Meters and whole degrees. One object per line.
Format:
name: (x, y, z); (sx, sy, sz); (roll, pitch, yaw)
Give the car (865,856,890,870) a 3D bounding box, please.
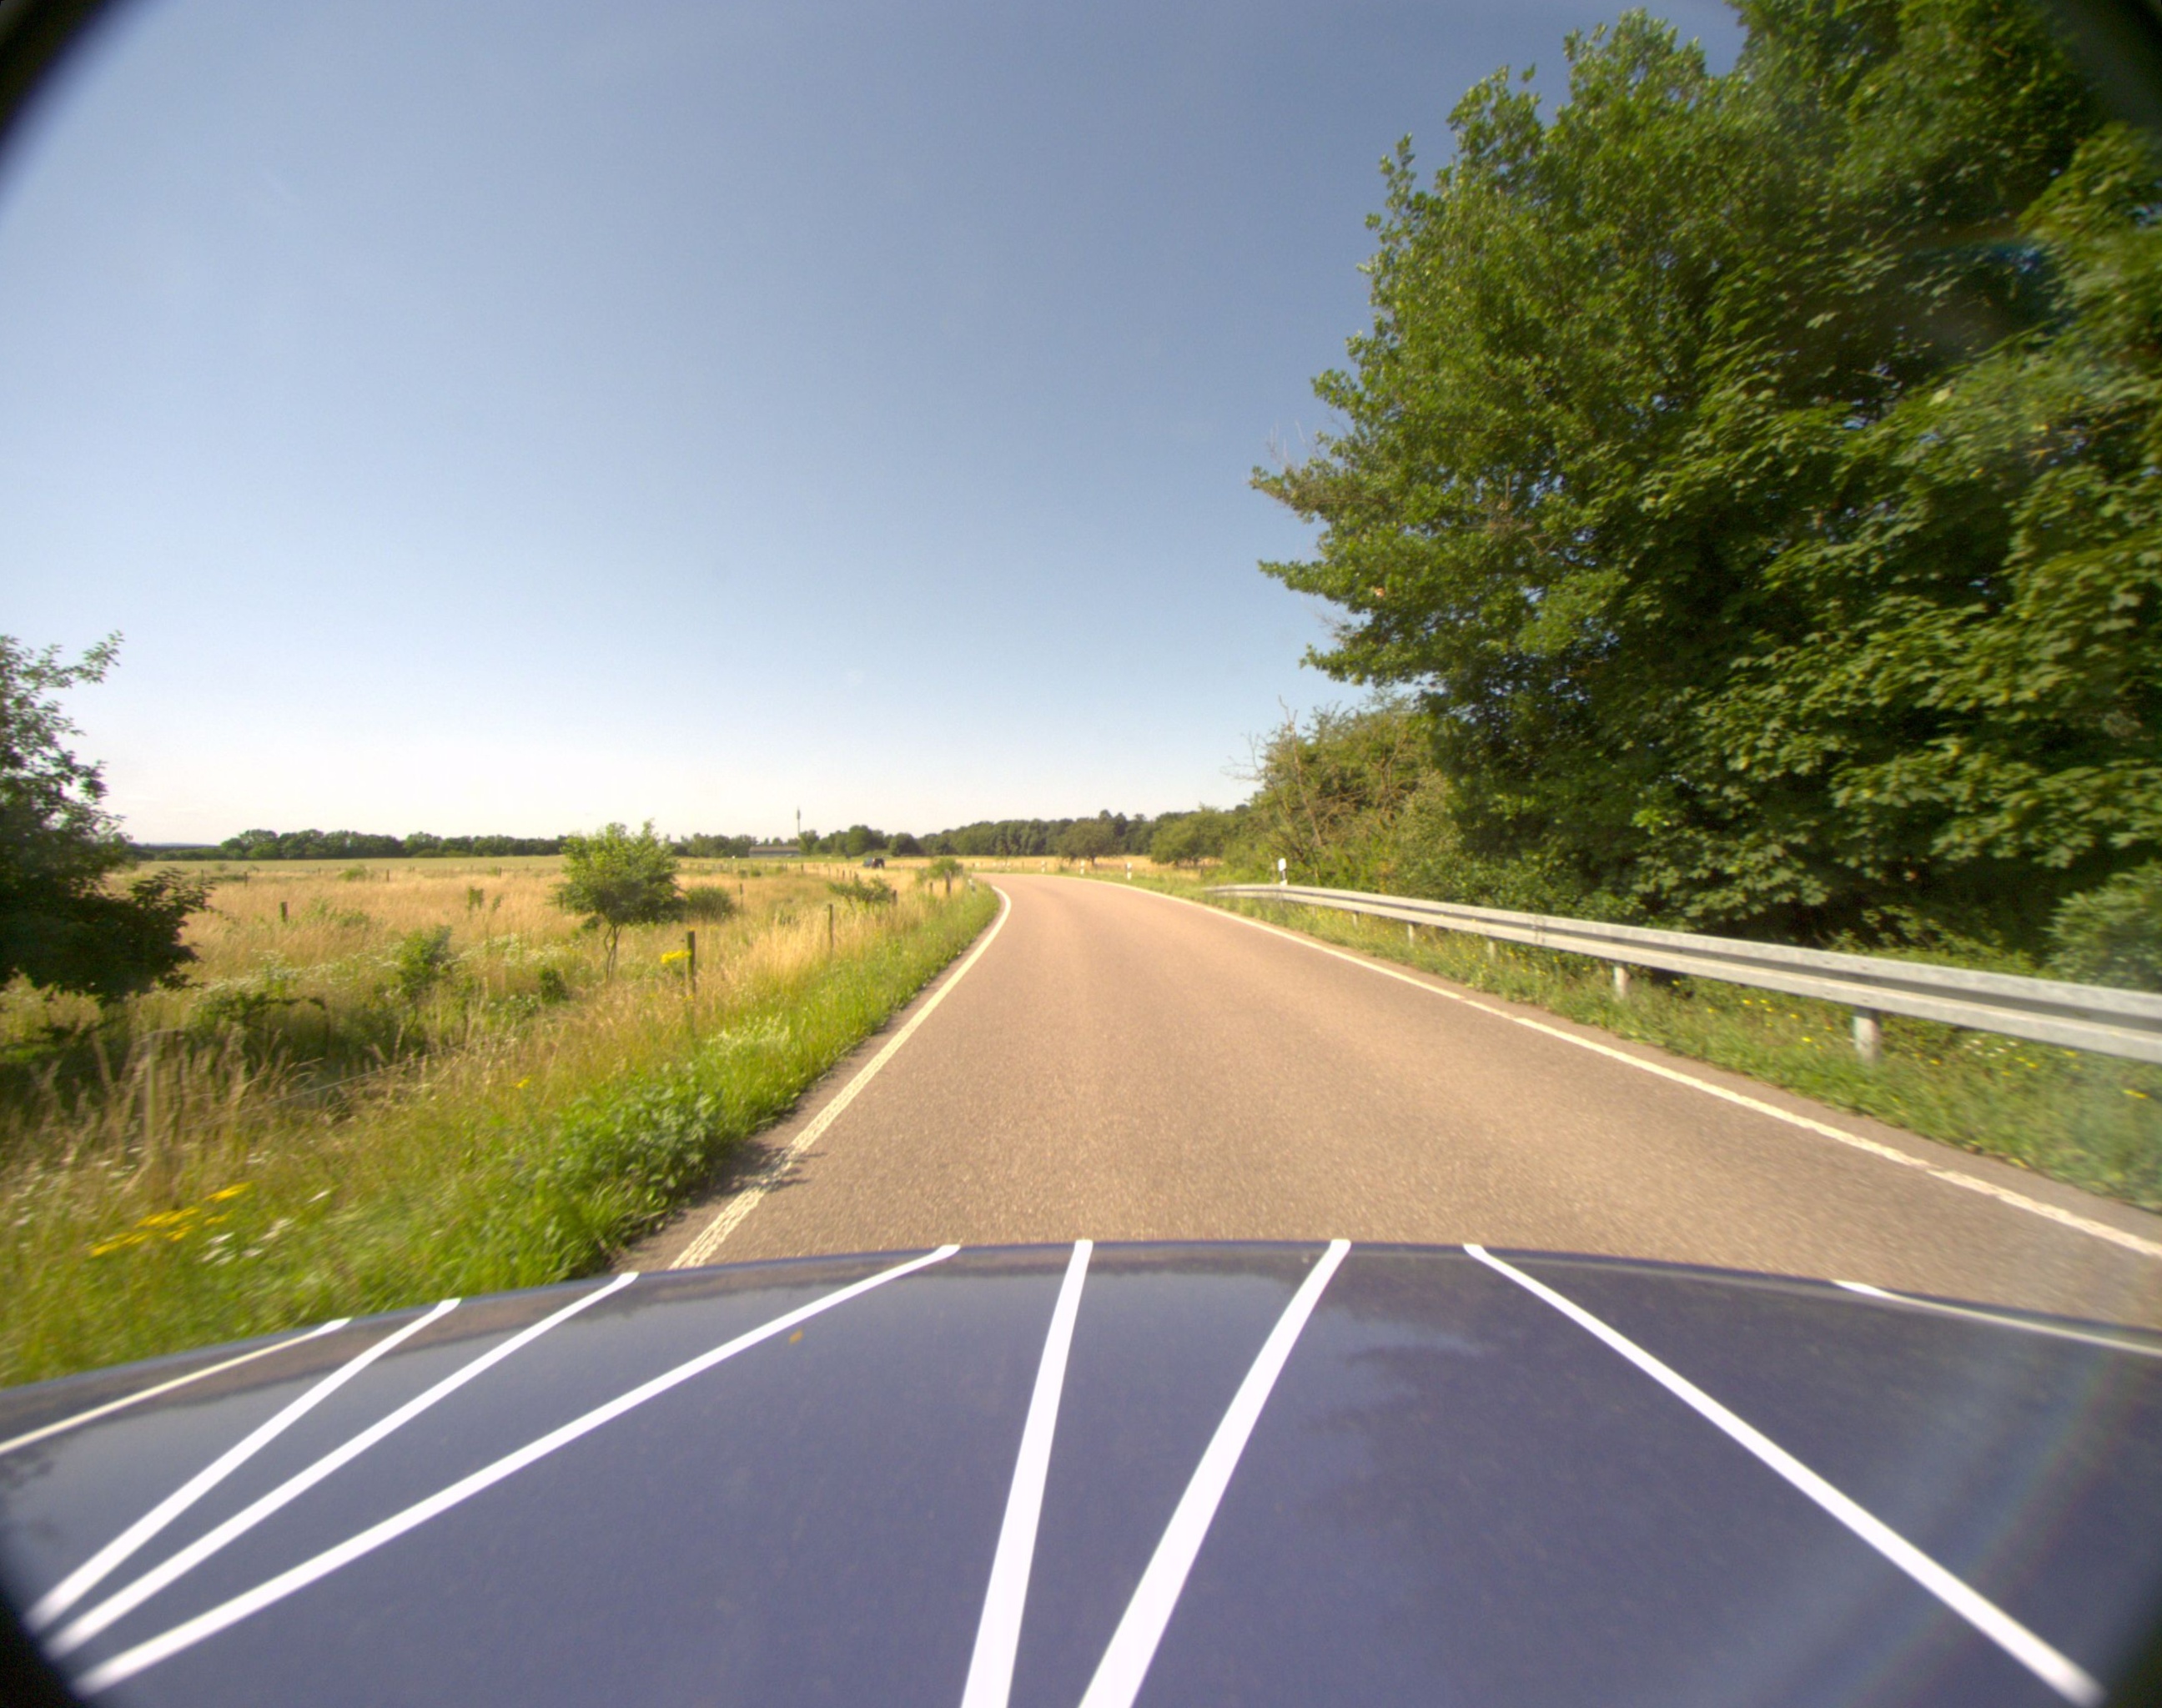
car: (-26.561, 1.201, 99.164); (1.793, 1.622, 4.151); (1, -2, -35)
